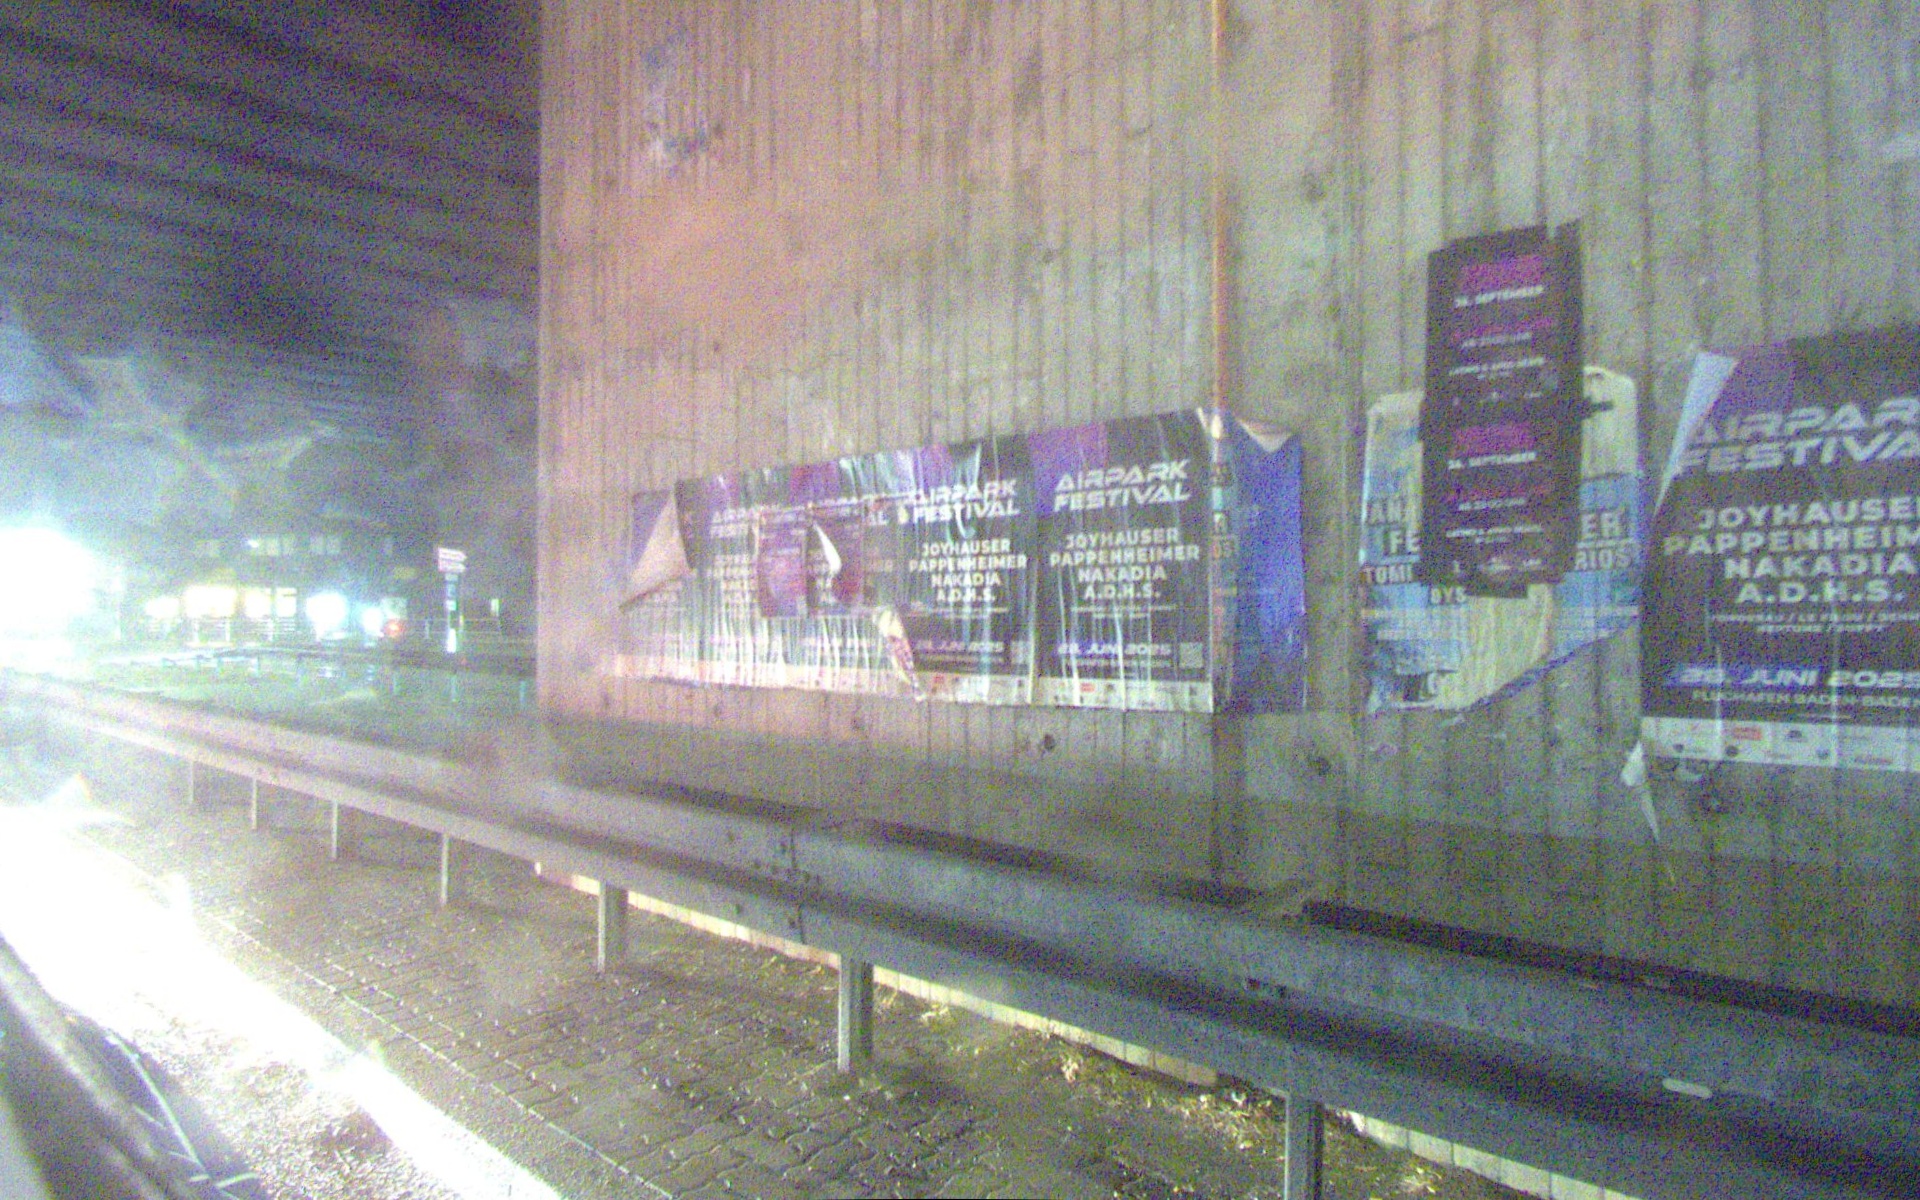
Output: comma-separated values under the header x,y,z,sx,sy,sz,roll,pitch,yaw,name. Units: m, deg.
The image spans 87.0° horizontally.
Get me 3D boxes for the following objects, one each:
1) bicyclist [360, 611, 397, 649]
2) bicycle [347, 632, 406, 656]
x,y,z,sx,sy,sz,roll,pitch,yaw,name
-22.459,1.137,39.103,1.179,1.446,0.625,0,-2,21,bicyclist
-22.574,1.688,39.141,2.194,0.912,0.625,0,-2,17,bicycle
